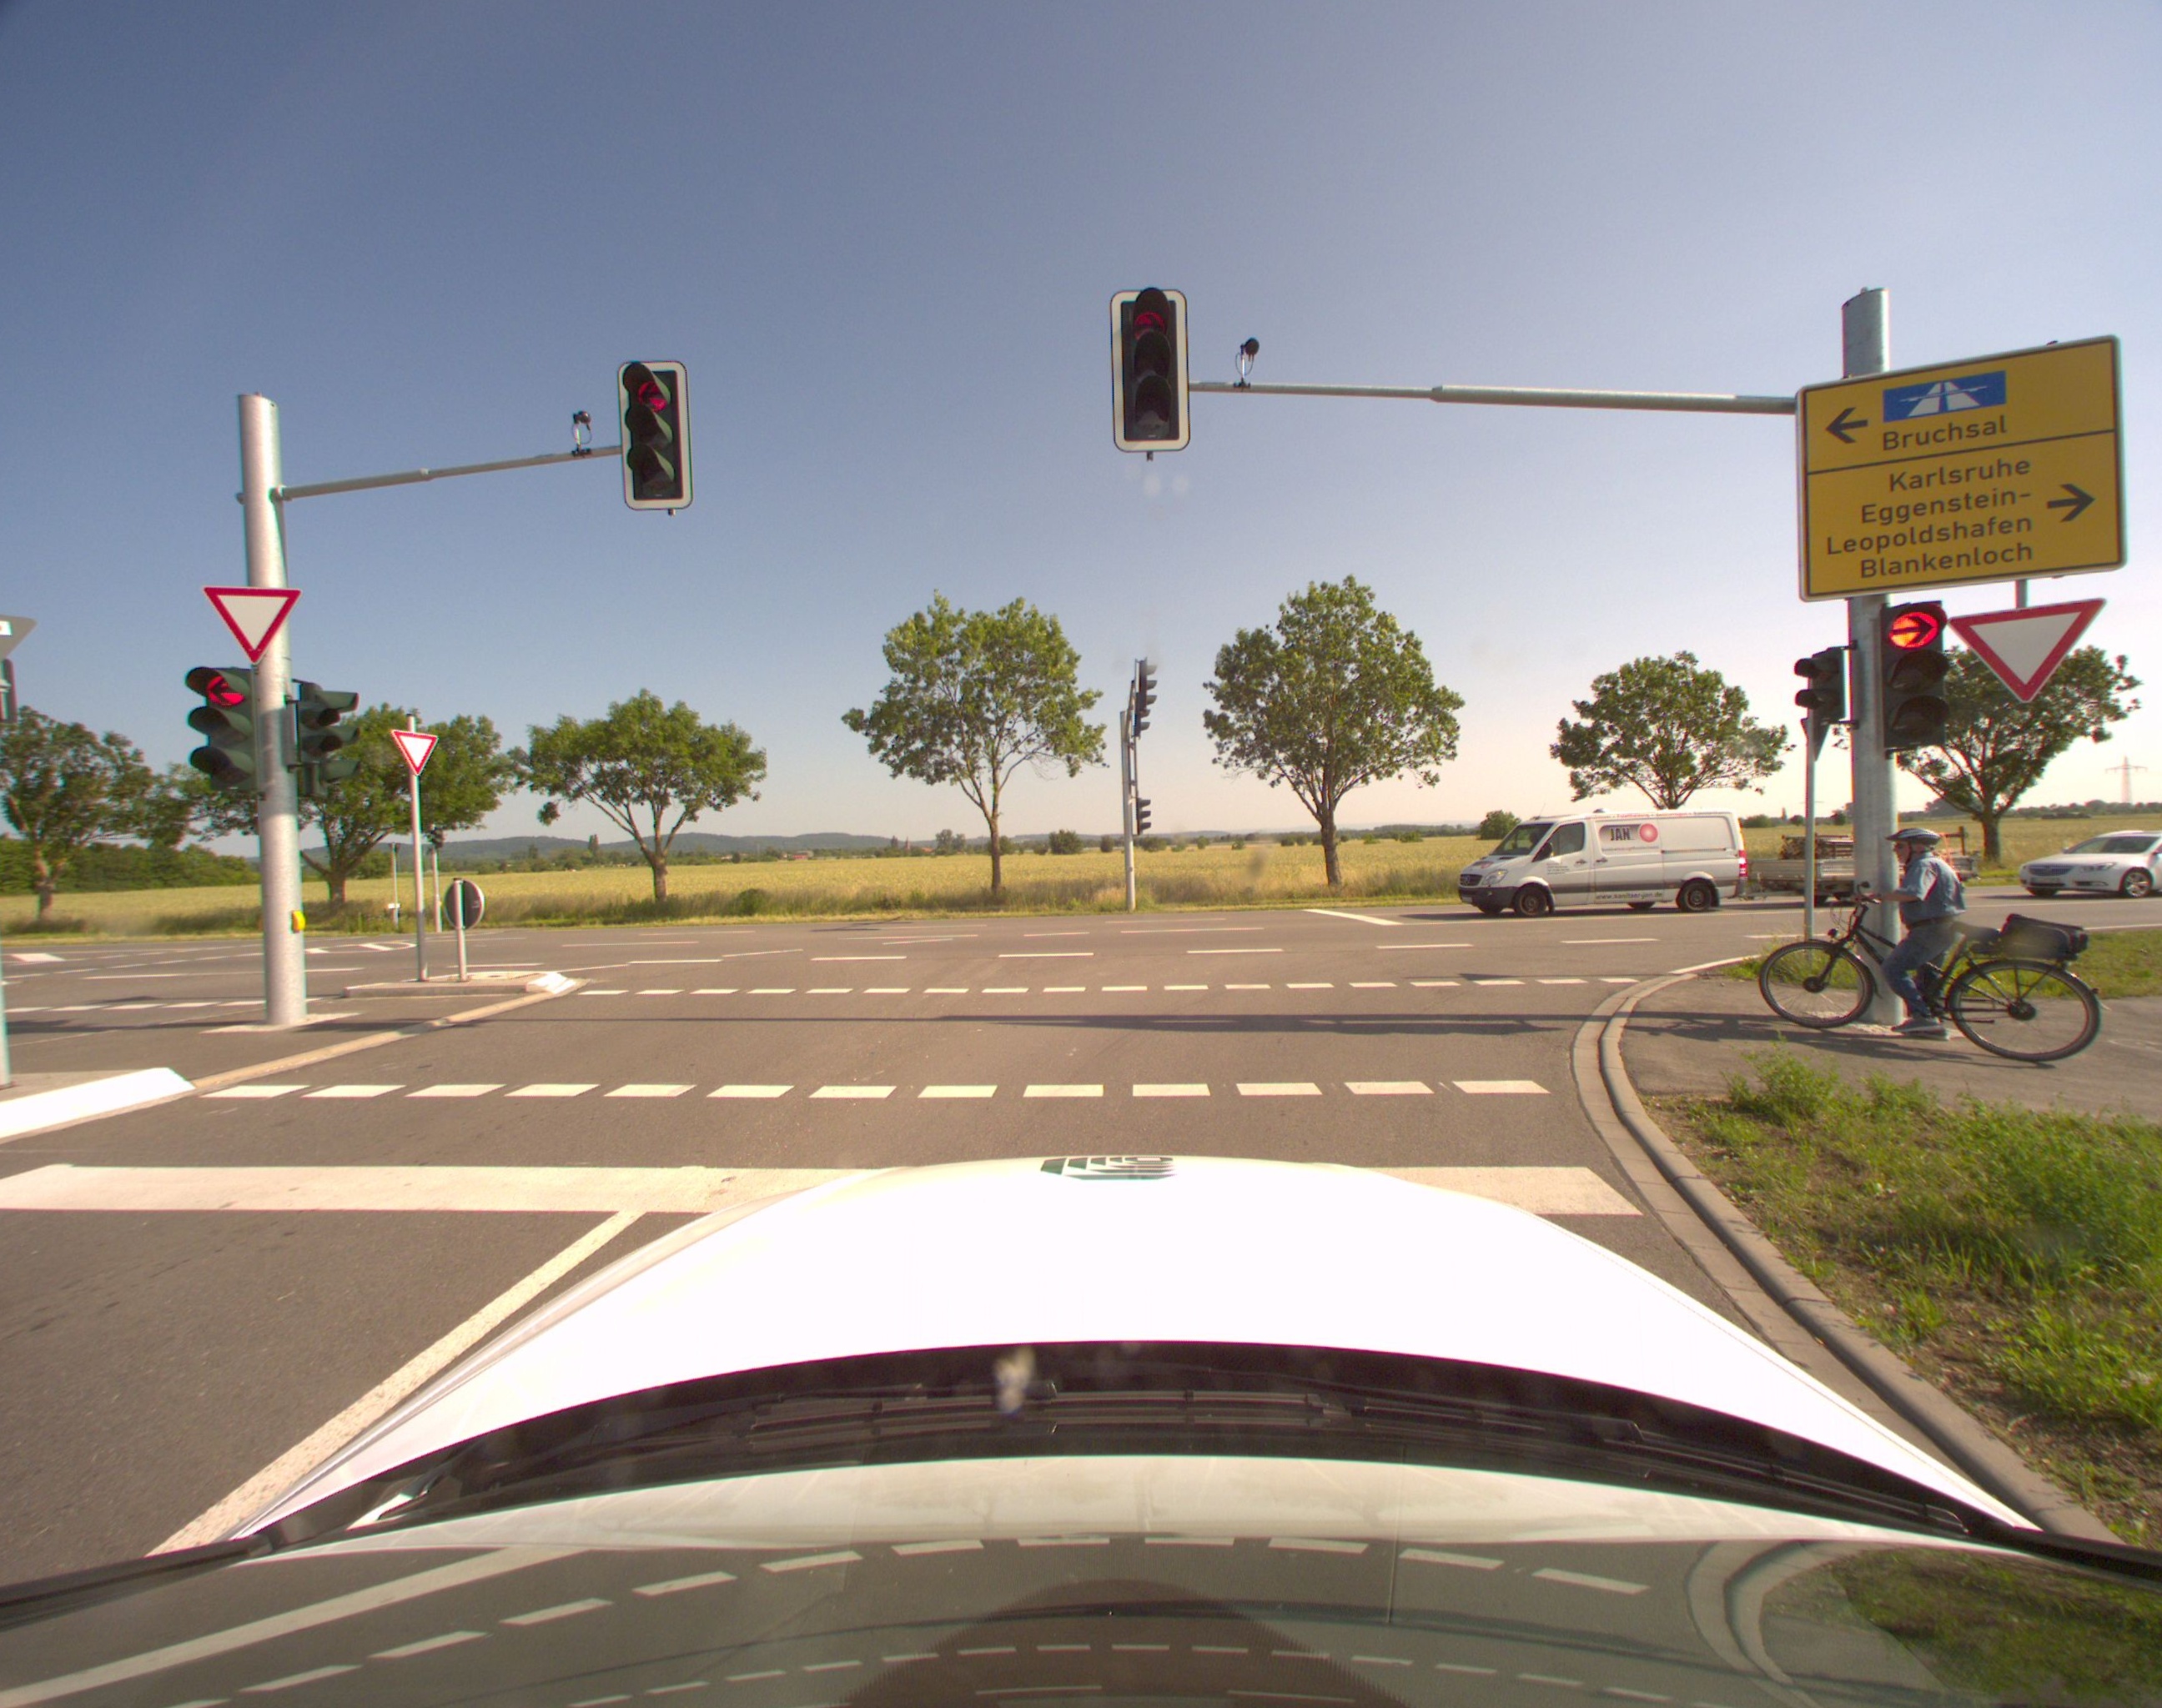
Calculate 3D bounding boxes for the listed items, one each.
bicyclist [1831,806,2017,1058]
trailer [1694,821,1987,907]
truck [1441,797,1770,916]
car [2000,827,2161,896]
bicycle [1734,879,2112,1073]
[{"bbox_3d":[6.420,0.535,6.241,0.623,1.765,0.906,0,1,-44],"label":"bicyclist"},{"bbox_3d":[17.381,0.235,18.804,4.982,1.738,1.979,-2,-1,-2],"label":"trailer"},{"bbox_3d":[11.810,0.068,18.670,6.157,2.405,2.071,-2,-1,0],"label":"truck"},{"bbox_3d":[24.676,0.129,18.994,4.682,1.492,1.763,-2,-1,-3],"label":"car"},{"bbox_3d":[6.346,0.833,6.292,0.685,1.151,1.922,0,2,-44],"label":"bicycle"}]
